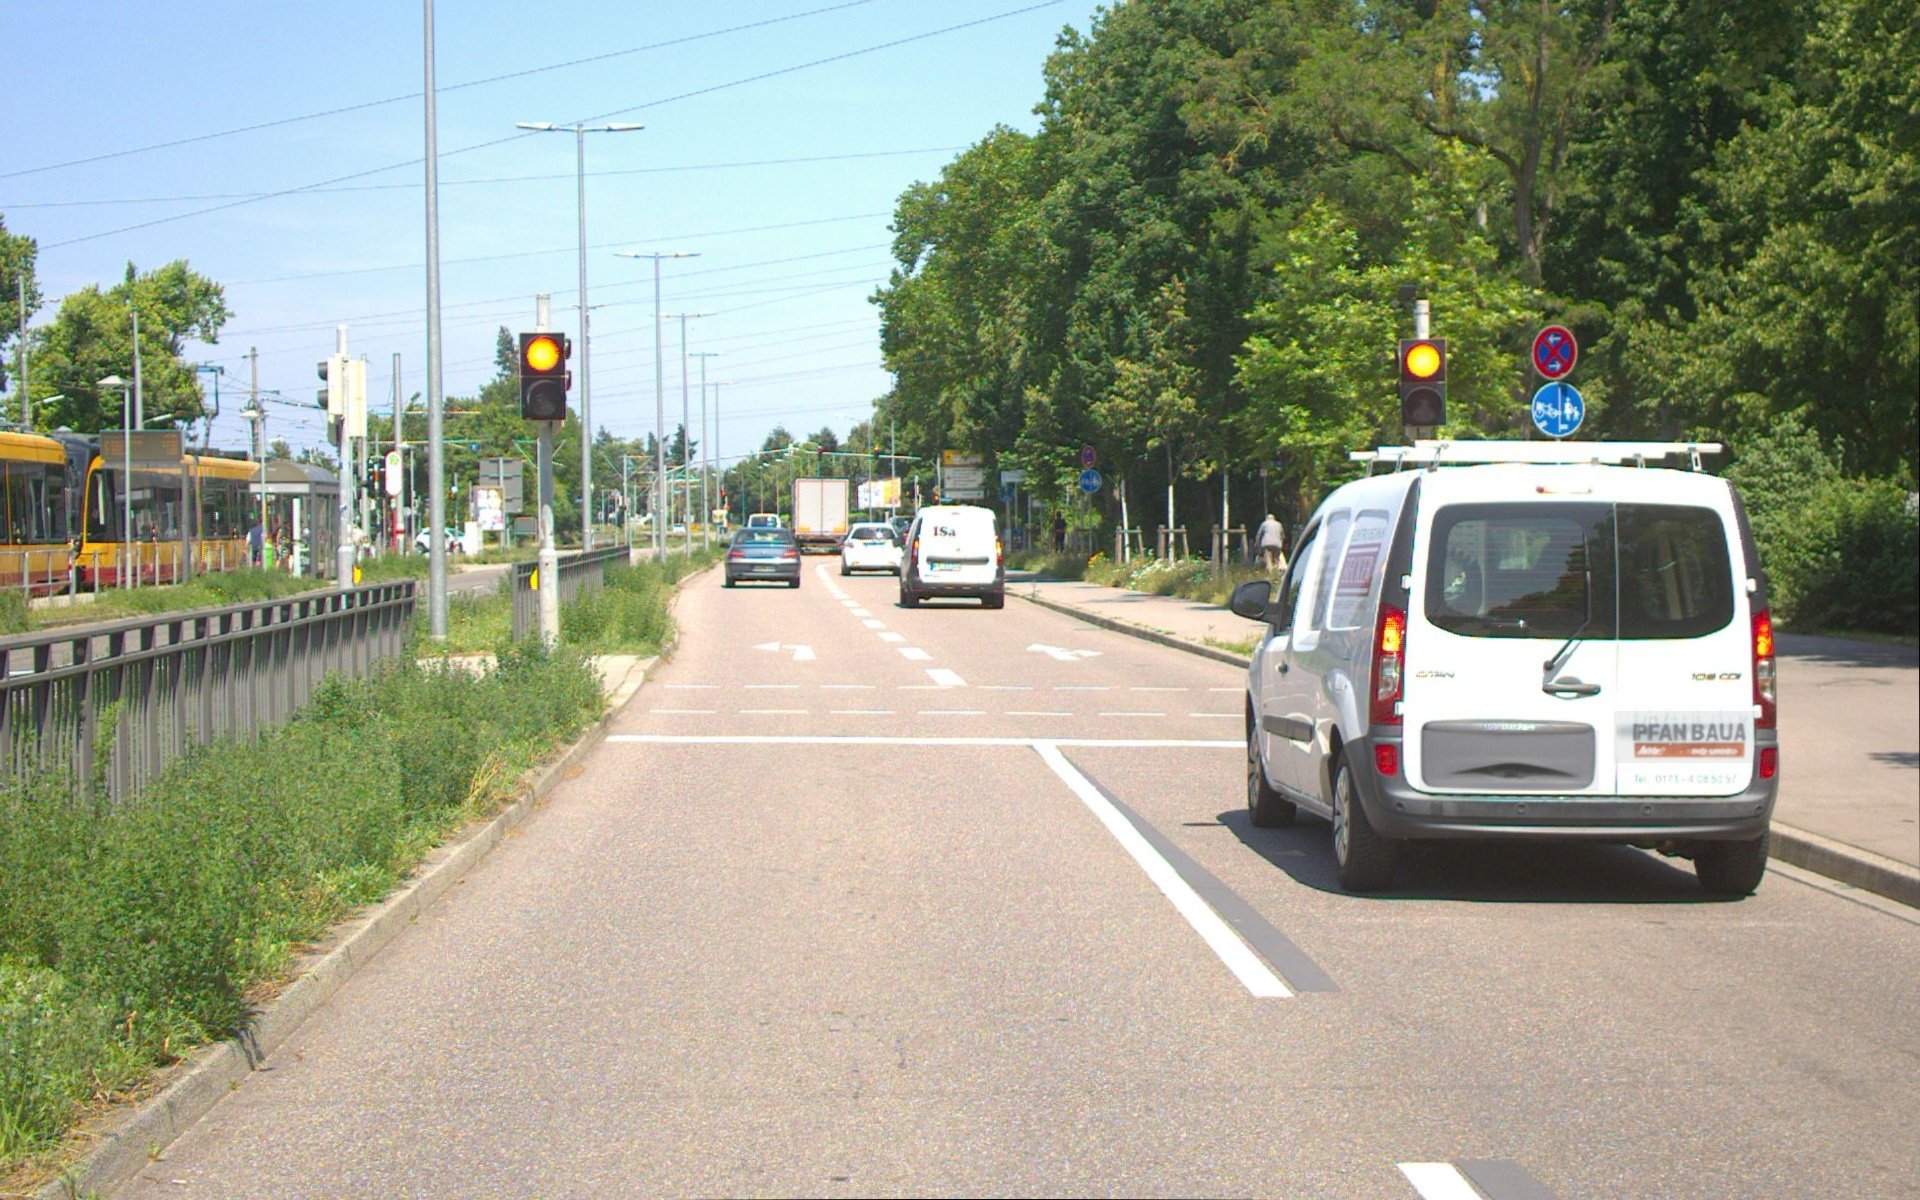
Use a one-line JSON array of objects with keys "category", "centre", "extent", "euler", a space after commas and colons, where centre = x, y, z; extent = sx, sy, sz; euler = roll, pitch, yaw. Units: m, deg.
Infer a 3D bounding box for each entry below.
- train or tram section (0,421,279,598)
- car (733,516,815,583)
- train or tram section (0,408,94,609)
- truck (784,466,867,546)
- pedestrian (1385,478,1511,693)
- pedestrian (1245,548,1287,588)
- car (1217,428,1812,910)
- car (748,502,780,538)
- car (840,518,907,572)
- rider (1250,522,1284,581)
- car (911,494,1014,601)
[{"category": "train or tram section", "centre": [-19.949, -2.166, 84.032], "extent": [2.787, 3.655, 26.003], "euler": [0, 1, -3]}, {"category": "car", "centre": [-4.245, -1.175, 79.099], "extent": [1.801, 1.481, 4.001], "euler": [0, 1, -2]}, {"category": "train or tram section", "centre": [-18.331, -1.434, 52.326], "extent": [2.787, 3.655, 37.524], "euler": [0, 1, -3]}, {"category": "truck", "centre": [-6.682, -4.601, 169.036], "extent": [3.898, 3.799, 10.794], "euler": [0, 1, -3]}, {"category": "pedestrian", "centre": [4.261, -0.137, 29.985], "extent": [1.047, 1.844, 0.757], "euler": [1, 1, 11]}, {"category": "pedestrian", "centre": [6.658, -0.705, 74.829], "extent": [0.678, 0.845, 1.774], "euler": [0, 1, -3]}, {"category": "car", "centre": [2.350, 0.221, 15.757], "extent": [1.824, 1.875, 4.456], "euler": [1, 1, -2]}, {"category": "car", "centre": [-10.568, -4.297, 185.195], "extent": [1.687, 1.891, 3.871], "euler": [0, 1, -3]}, {"category": "car", "centre": [-2.529, -1.614, 99.515], "extent": [1.803, 1.534, 4.001], "euler": [0, 1, -3]}, {"category": "rider", "centre": [6.672, -1.063, 74.761], "extent": [0.678, 1.277, 0.534], "euler": [0, 1, -3]}, {"category": "car", "centre": [0.080, -0.972, 61.360], "extent": [1.728, 1.807, 4.000], "euler": [1, 2, 1]}]
